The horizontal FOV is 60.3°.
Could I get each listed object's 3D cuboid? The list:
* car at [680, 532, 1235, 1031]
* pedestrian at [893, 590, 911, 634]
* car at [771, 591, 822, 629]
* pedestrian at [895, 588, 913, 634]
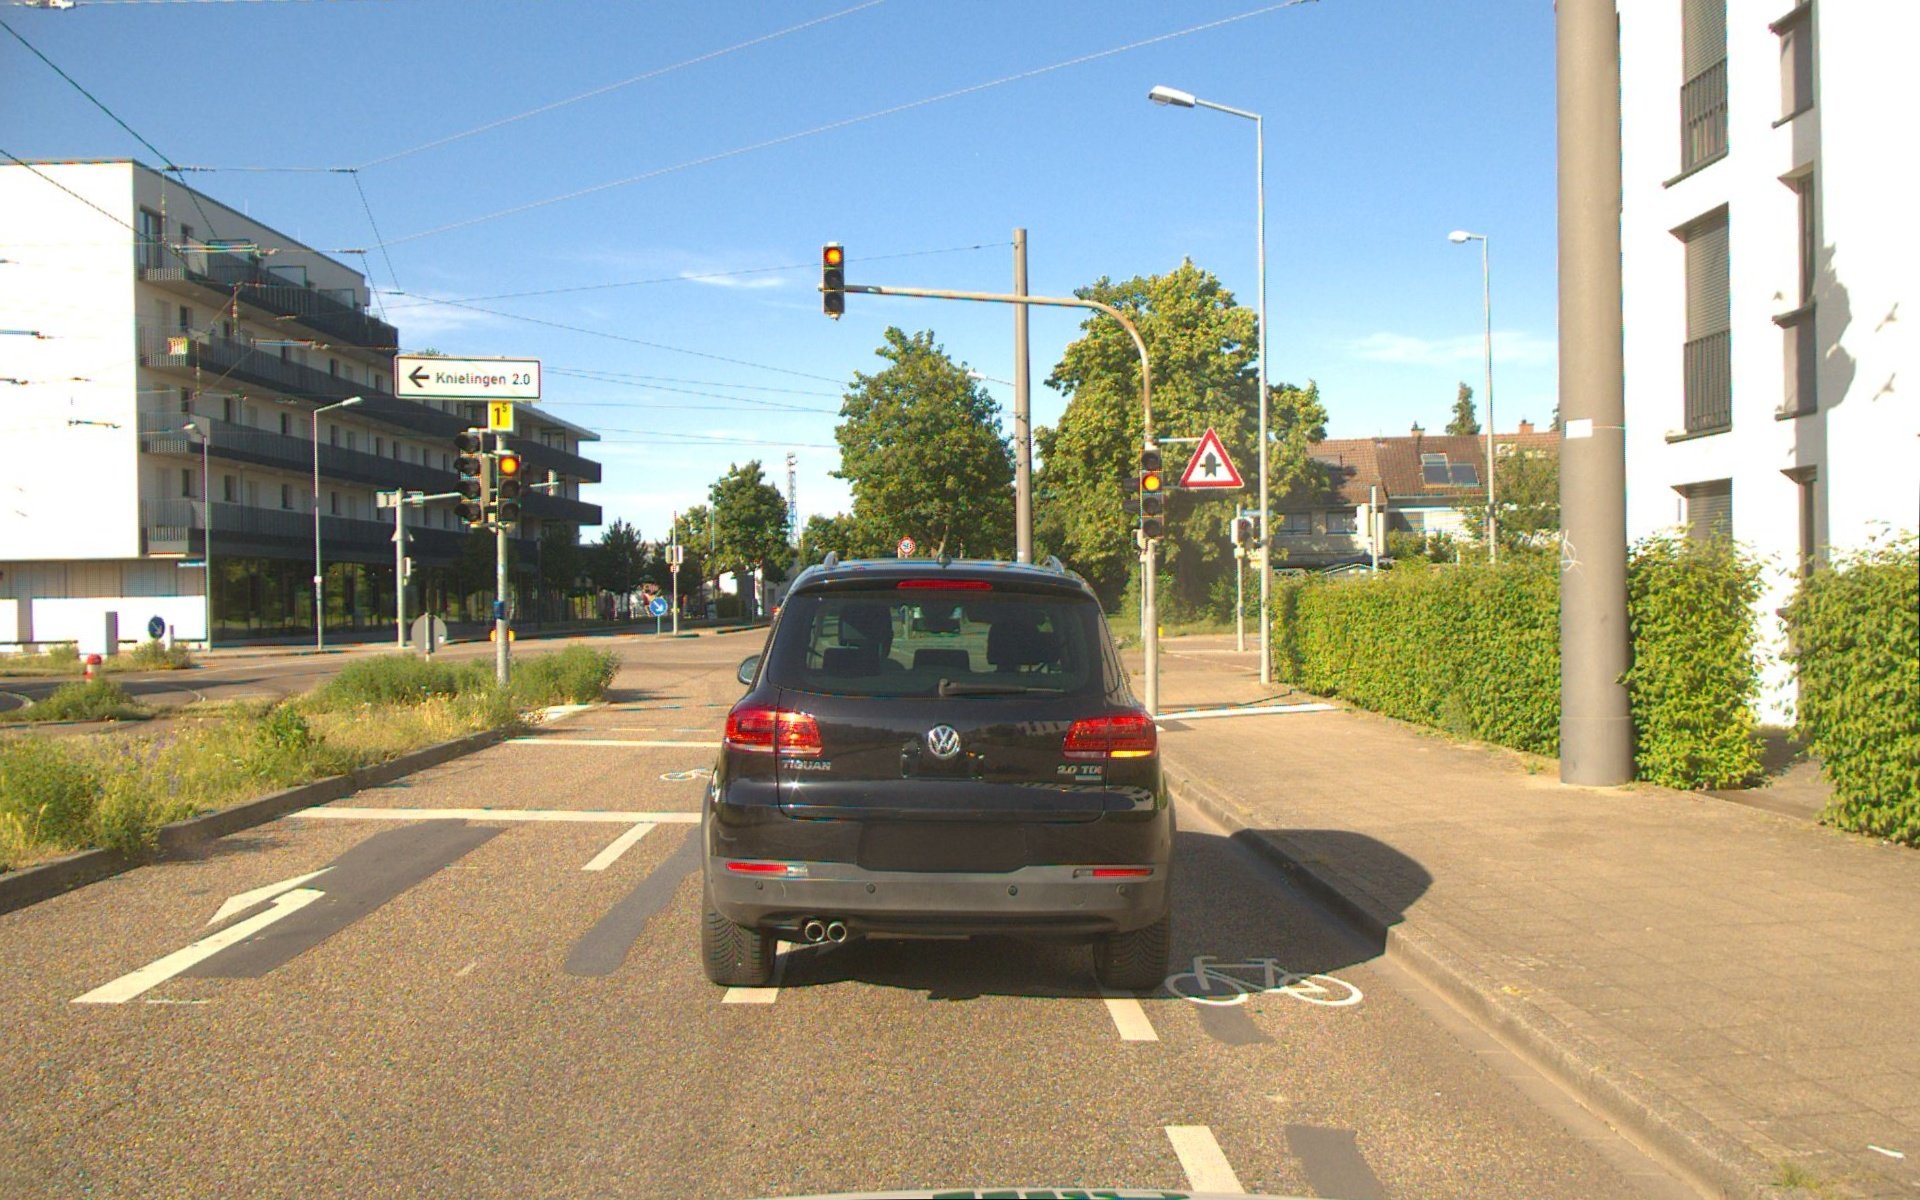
[{"bbox_3d":[-0.075,0.602,7.588,1.867,1.671,3.998,0,0,-2],"label":"car"},{"bbox_3d":[-2.125,0.426,60.185,0.590,1.592,0.529,0,0,3],"label":"pedestrian"},{"bbox_3d":[-6.255,0.371,63.612,1.716,1.411,3.998,0,0,-2],"label":"car"},{"bbox_3d":[-2.049,0.407,60.723,0.590,1.668,0.529,0,0,3],"label":"pedestrian"}]
